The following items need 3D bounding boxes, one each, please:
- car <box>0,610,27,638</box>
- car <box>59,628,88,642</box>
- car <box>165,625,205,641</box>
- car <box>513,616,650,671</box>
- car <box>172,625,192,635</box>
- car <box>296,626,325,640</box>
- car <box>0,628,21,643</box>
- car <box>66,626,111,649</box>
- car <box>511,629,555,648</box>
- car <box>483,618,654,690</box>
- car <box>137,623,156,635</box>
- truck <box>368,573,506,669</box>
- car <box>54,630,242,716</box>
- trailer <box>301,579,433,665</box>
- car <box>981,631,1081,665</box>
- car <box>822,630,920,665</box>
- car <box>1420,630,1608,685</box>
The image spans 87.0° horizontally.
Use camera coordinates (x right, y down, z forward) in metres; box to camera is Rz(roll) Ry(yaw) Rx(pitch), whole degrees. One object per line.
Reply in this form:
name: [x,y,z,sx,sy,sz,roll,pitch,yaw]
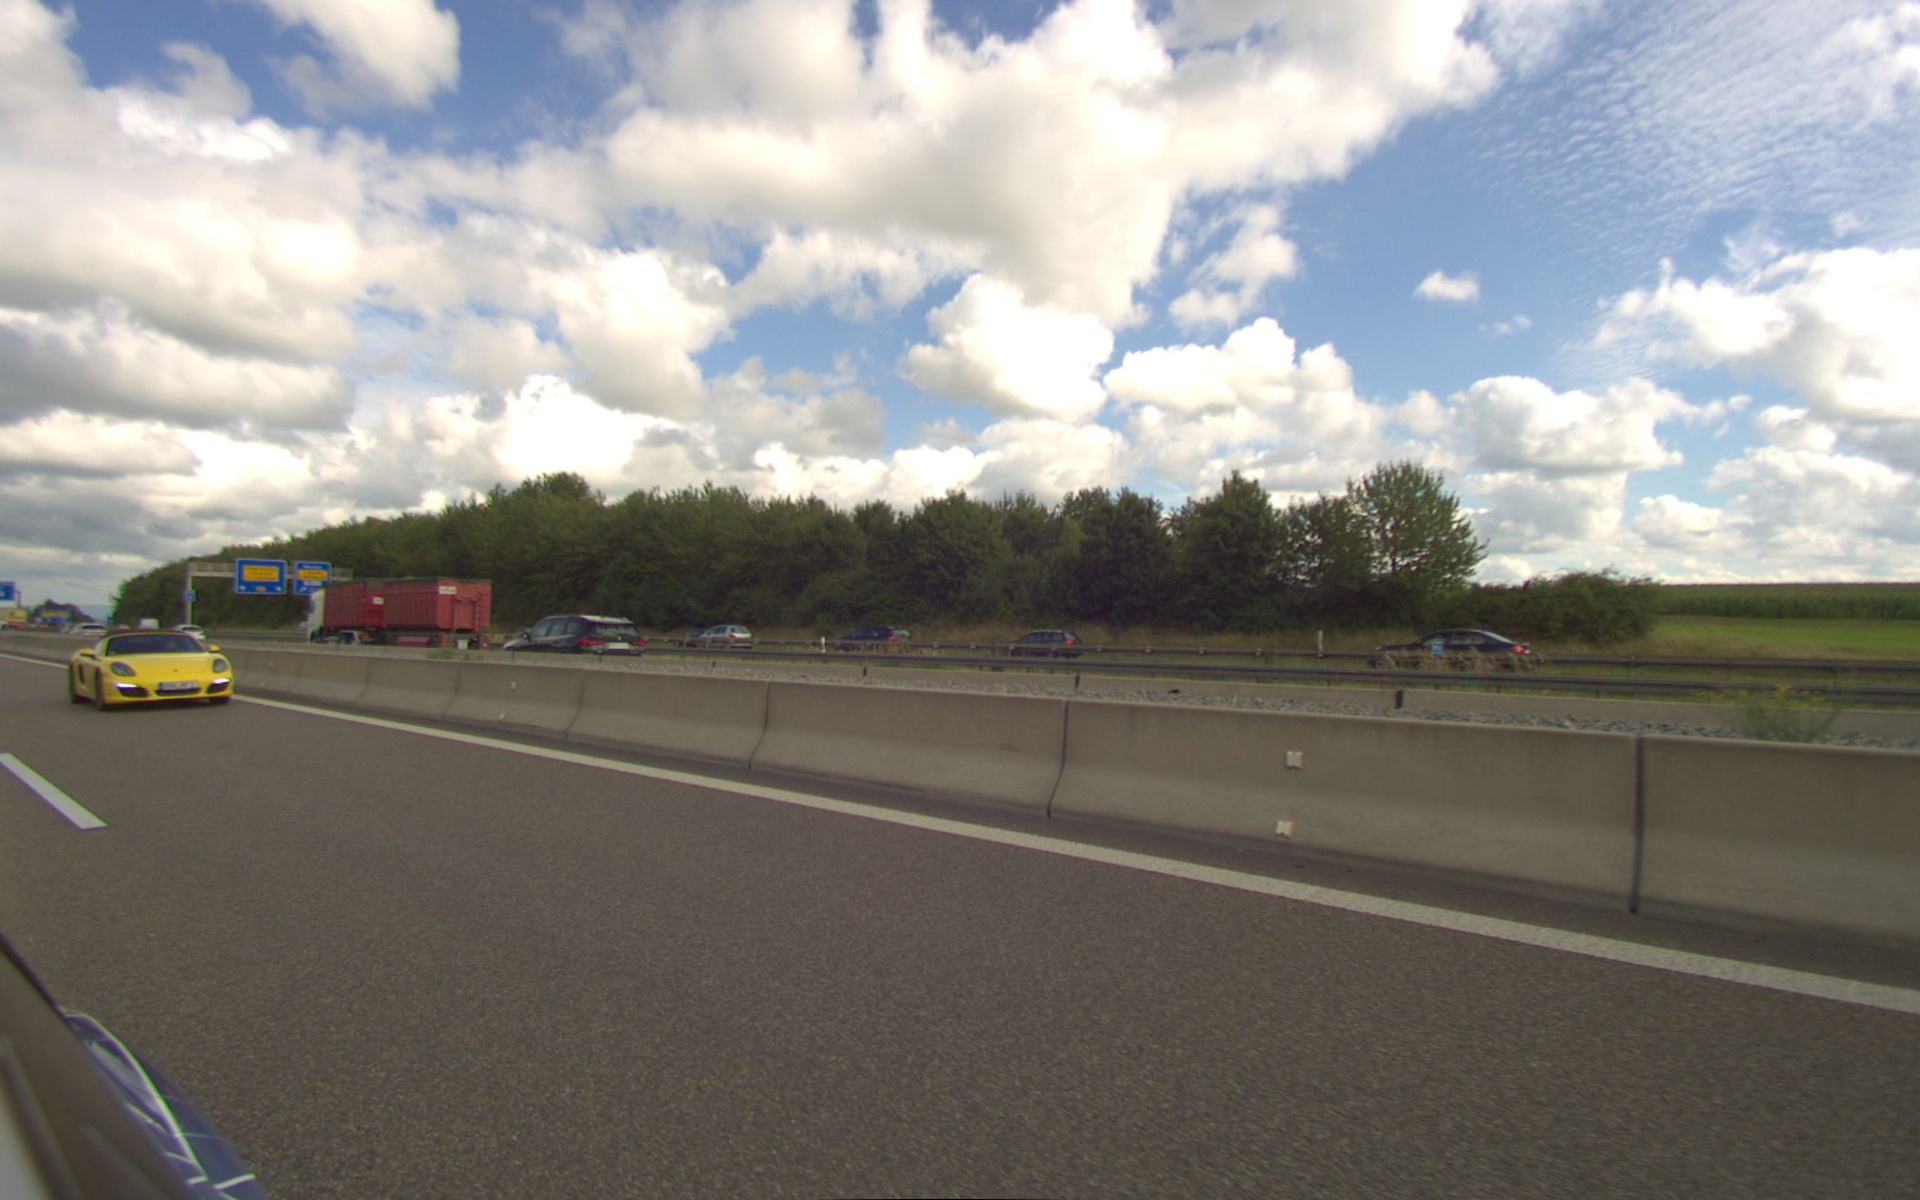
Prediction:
car: [-151.660,3.894,161.186,14.139,4.358,2.875,-2,-2,41]
car: [-83.446,3.274,95.244,4.240,1.294,1.563,-1,-2,42]
car: [-58.982,2.501,76.993,4.128,1.202,1.638,-1,-2,41]
car: [-11.592,1.291,30.826,4.939,1.543,1.745,-1,-1,41]
car: [-128.537,4.891,167.177,4.418,1.674,1.827,-1,-2,42]
car: [-79.484,3.982,123.881,4.418,1.674,1.862,-1,-2,42]
car: [-93.515,3.504,99.194,4.073,1.413,1.738,-1,-2,42]
car: [-59.545,2.521,69.141,4.641,1.516,1.671,-1,-2,41]
car: [-36.075,3.255,85.421,4.451,1.545,1.710,-1,-1,42]
car: [-9.417,1.214,24.138,4.940,1.543,1.745,-1,-1,41]
car: [-150.075,5.303,186.663,5.889,2.251,1.972,-2,-2,43]
truck: [-25.603,1.032,49.324,8.584,4.321,3.015,-1,-2,41]
car: [-14.178,1.194,17.590,4.245,1.325,1.787,-1,-3,41]
trailer: [-32.633,1.200,55.433,10.649,4.321,3.015,-1,-2,41]
car: [3.452,2.329,49.666,4.801,1.577,1.729,-1,-2,40]
car: [-4.295,2.219,48.317,4.939,1.543,1.745,-1,-1,41]
car: [15.935,1.612,29.251,4.518,1.420,1.697,-1,-1,41]
